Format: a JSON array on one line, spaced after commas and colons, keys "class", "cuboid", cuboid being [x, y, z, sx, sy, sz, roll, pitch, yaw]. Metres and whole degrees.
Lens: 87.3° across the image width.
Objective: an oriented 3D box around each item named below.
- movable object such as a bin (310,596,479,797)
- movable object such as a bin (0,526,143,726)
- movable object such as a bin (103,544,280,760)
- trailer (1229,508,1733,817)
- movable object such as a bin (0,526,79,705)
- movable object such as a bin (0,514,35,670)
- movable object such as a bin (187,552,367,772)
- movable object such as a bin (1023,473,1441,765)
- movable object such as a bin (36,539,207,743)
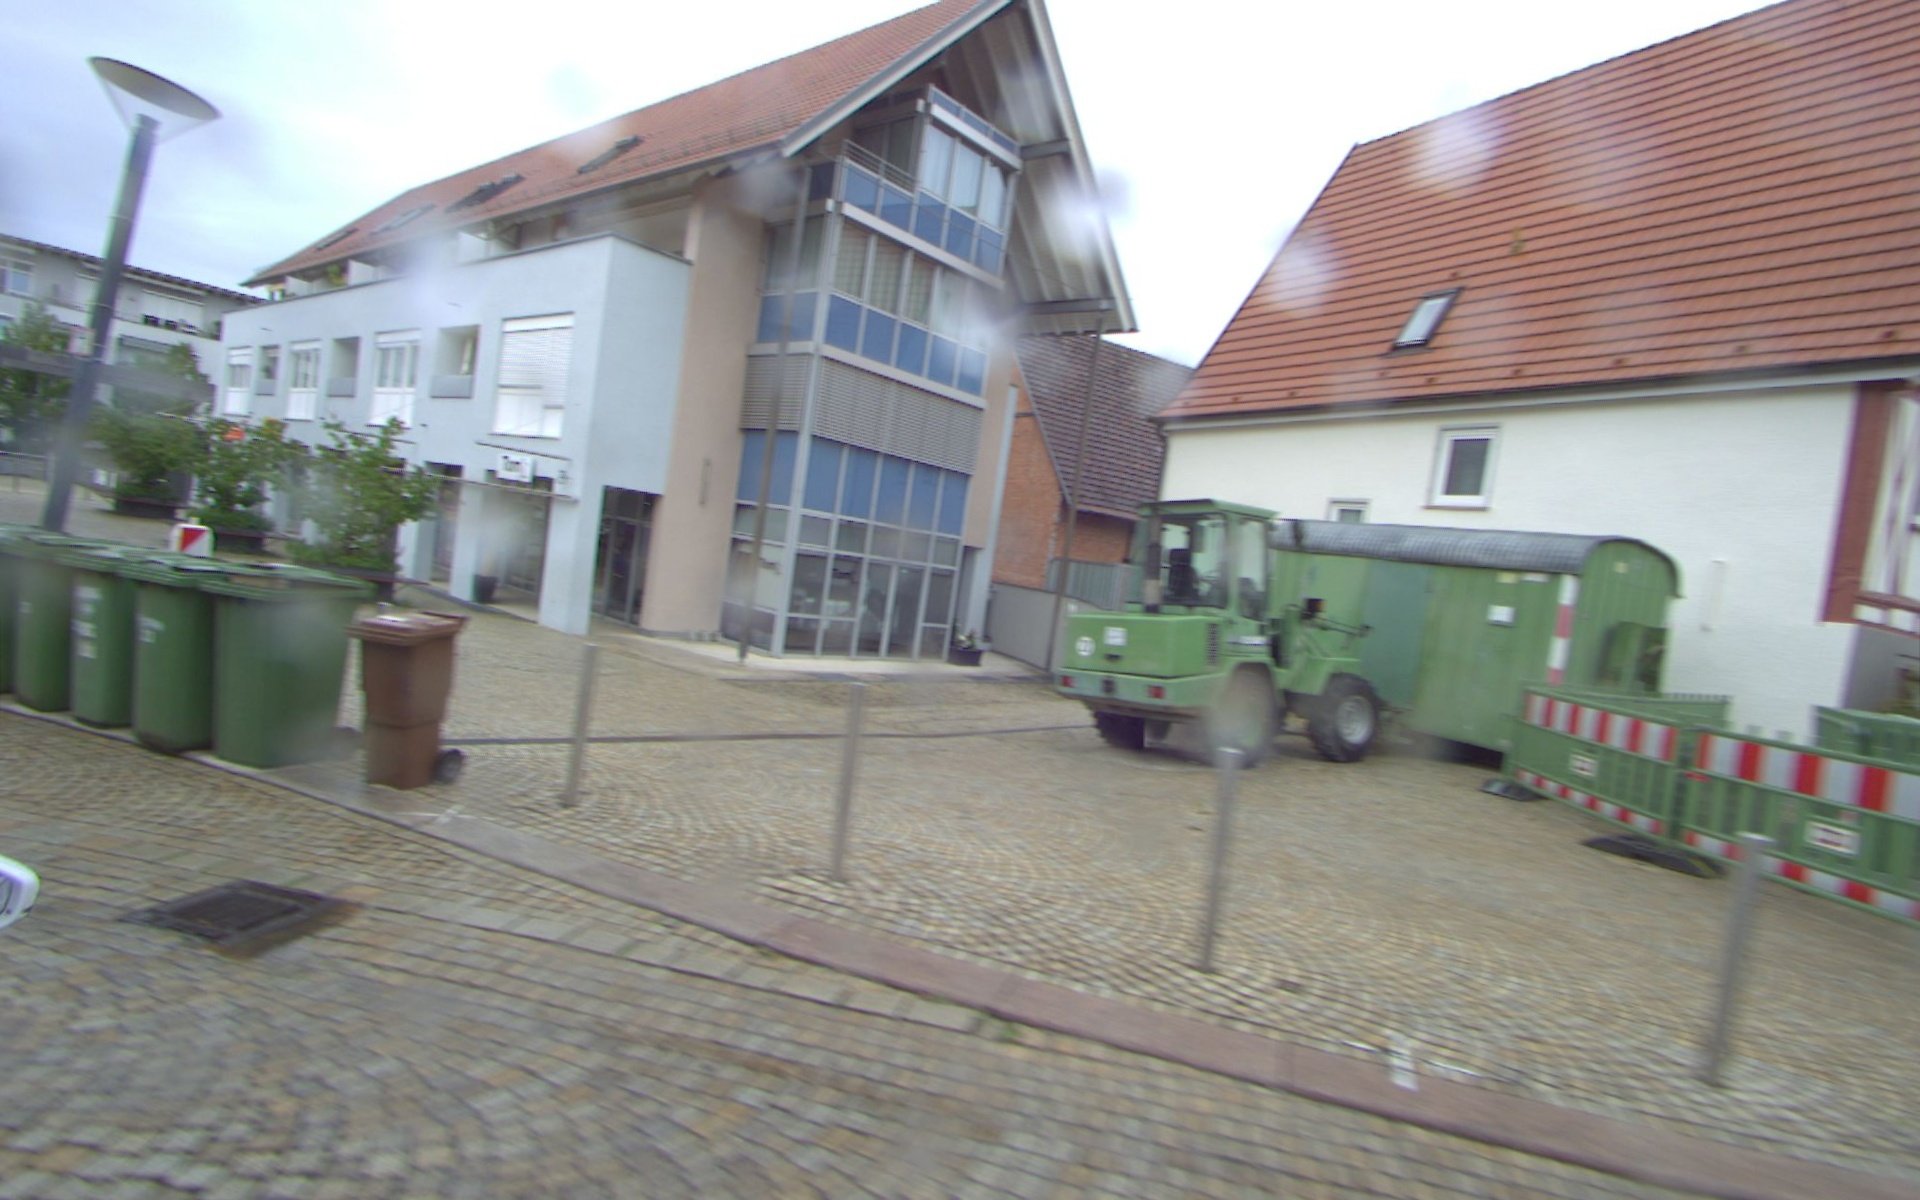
[{"class": "movable object such as a bin", "cuboid": [-3.120, 0.510, 5.575, 0.489, 1.004, 0.561, 7, 2, 14]}, {"class": "movable object such as a bin", "cuboid": [-5.739, 0.157, 6.421, 0.541, 1.175, 0.561, 7, 2, 23]}, {"class": "movable object such as a bin", "cuboid": [-4.477, 0.292, 5.874, 0.541, 1.141, 0.561, 7, 2, 23]}, {"class": "trailer", "cuboid": [6.166, 0.599, 12.562, 2.468, 2.872, 4.589, 9, 2, -32]}, {"class": "movable object such as a bin", "cuboid": [-6.383, 0.089, 6.683, 0.541, 1.141, 0.561, 7, 2, 23]}, {"class": "movable object such as a bin", "cuboid": [-7.361, -0.085, 7.421, 0.541, 1.141, 0.561, 7, 2, 23]}, {"class": "movable object such as a bin", "cuboid": [-3.894, 0.338, 5.755, 0.540, 1.141, 0.561, 7, 2, 17]}, {"class": "movable object such as a bin", "cuboid": [3.038, 0.310, 10.892, 4.252, 2.587, 1.893, 6, 1, -36]}, {"class": "movable object such as a bin", "cuboid": [-5.145, 0.243, 6.187, 0.532, 1.141, 0.561, 7, 2, 23]}]
